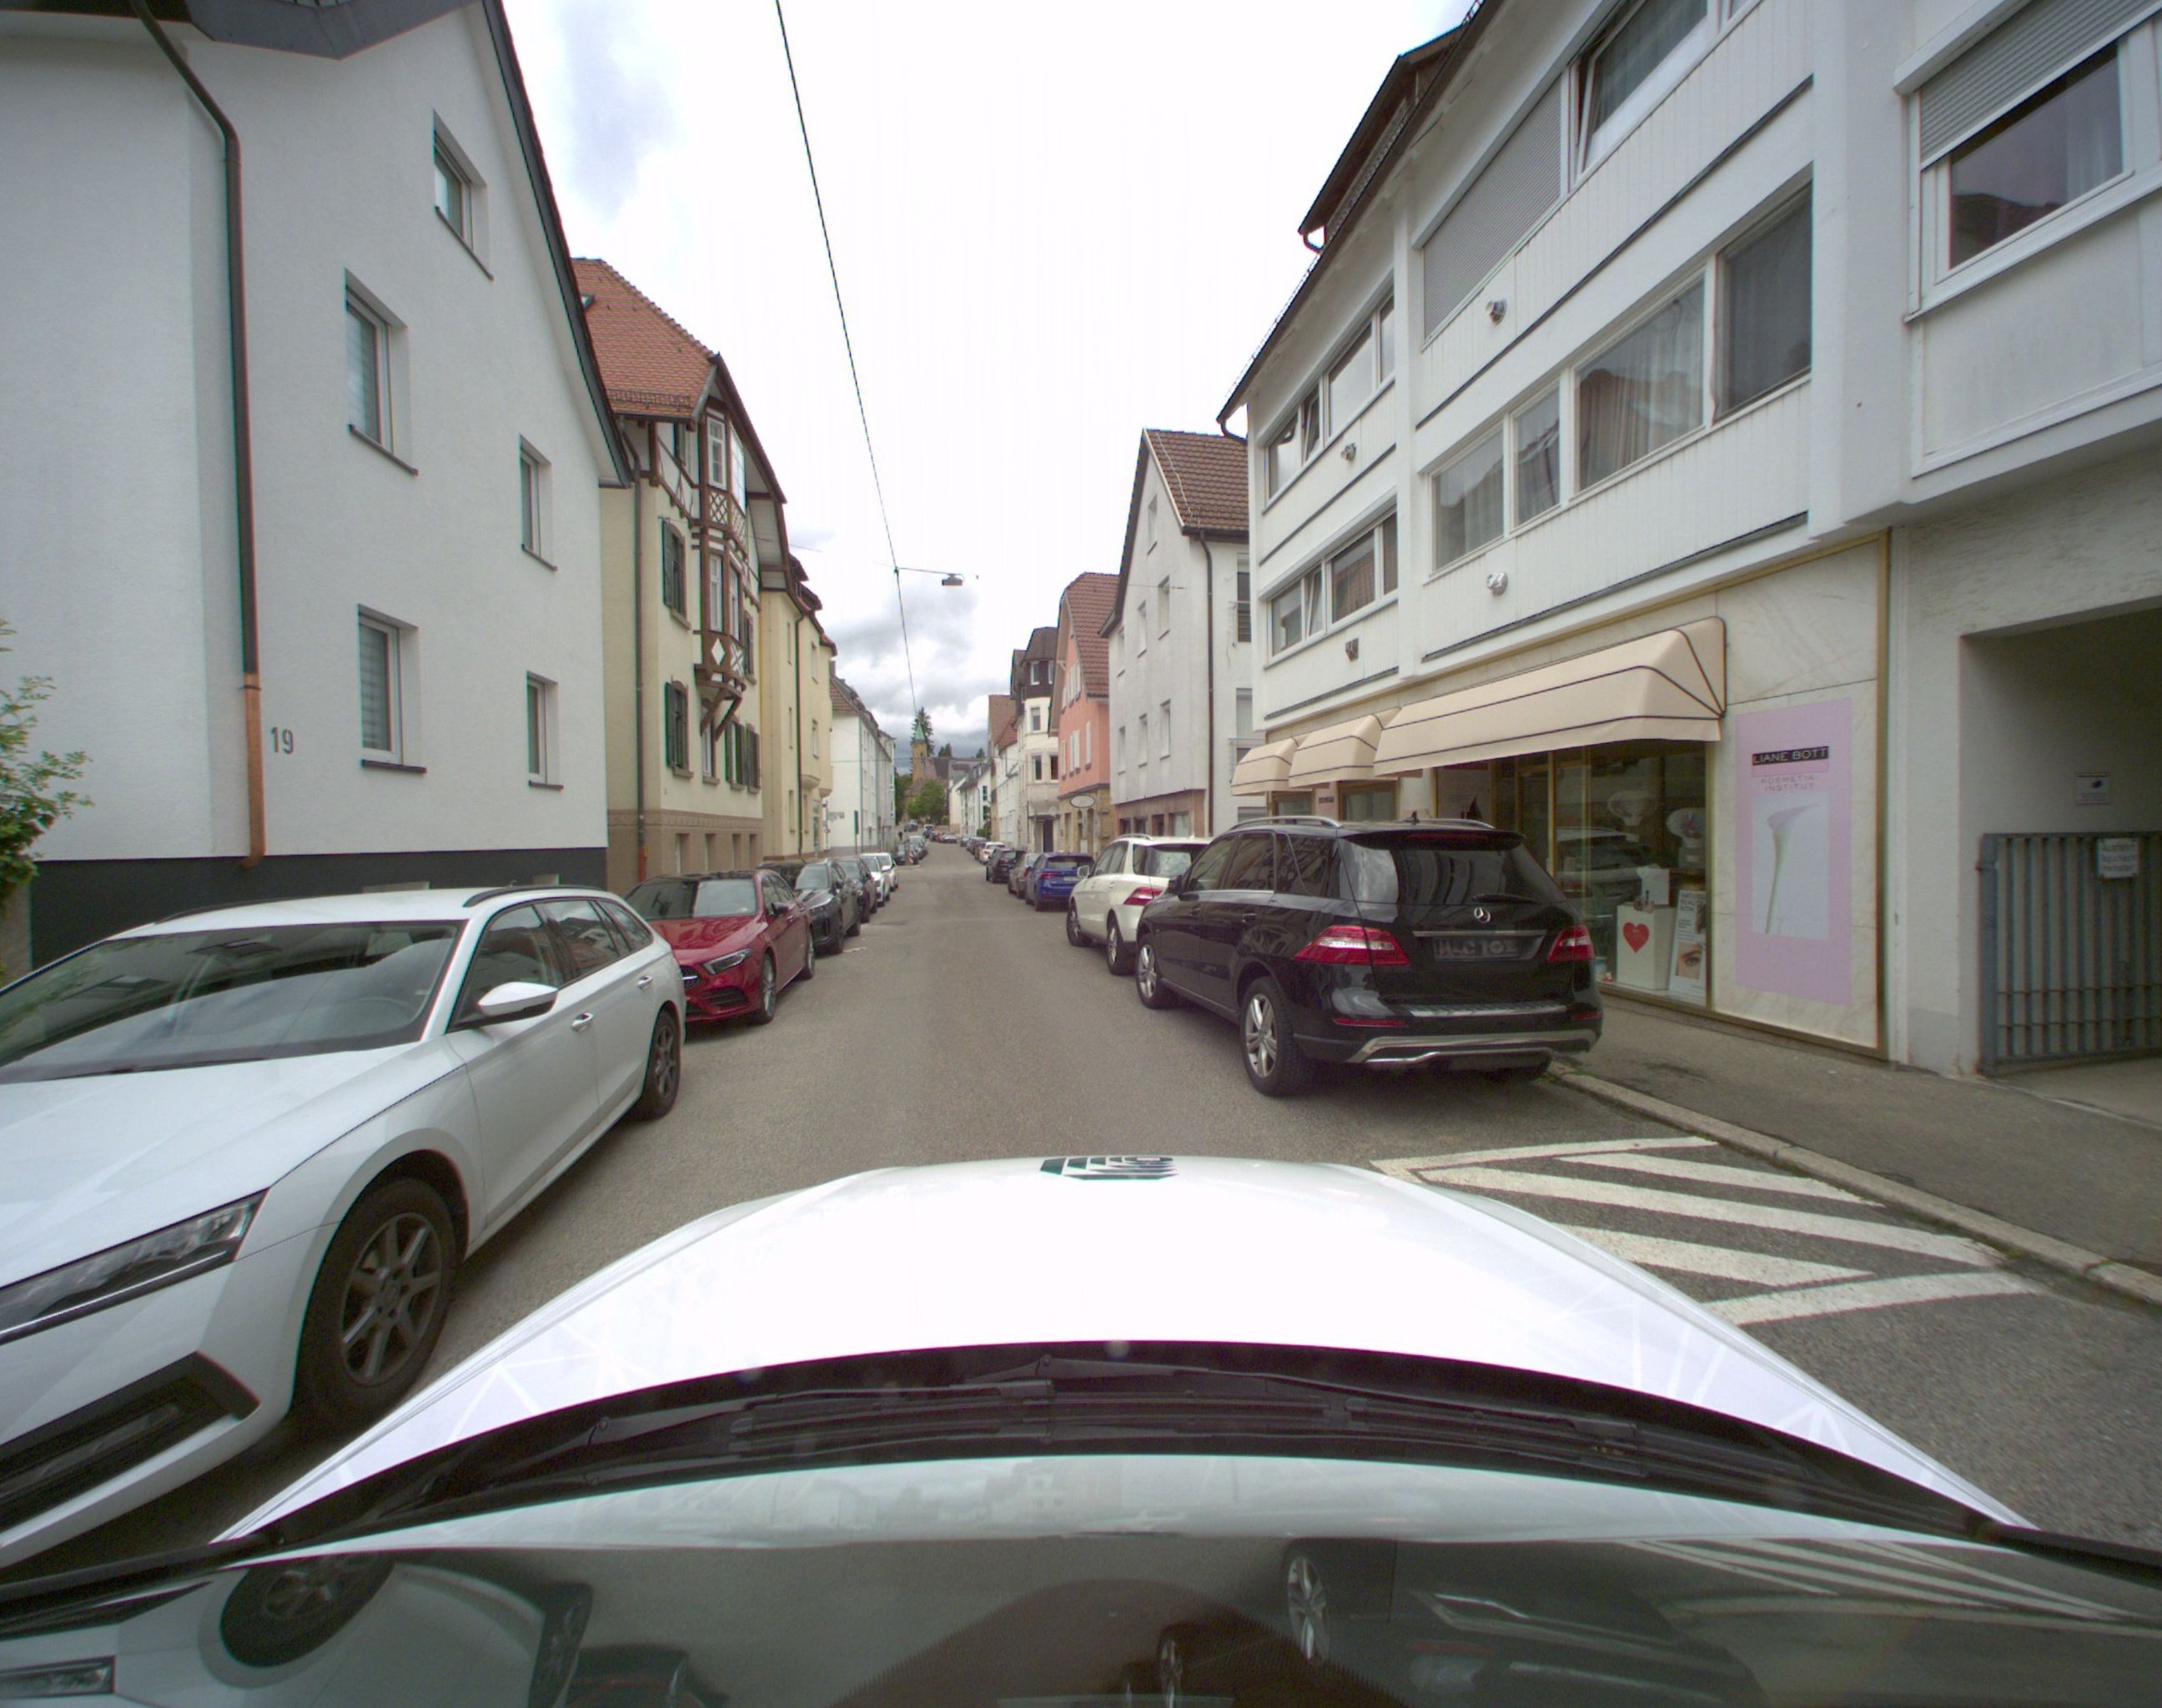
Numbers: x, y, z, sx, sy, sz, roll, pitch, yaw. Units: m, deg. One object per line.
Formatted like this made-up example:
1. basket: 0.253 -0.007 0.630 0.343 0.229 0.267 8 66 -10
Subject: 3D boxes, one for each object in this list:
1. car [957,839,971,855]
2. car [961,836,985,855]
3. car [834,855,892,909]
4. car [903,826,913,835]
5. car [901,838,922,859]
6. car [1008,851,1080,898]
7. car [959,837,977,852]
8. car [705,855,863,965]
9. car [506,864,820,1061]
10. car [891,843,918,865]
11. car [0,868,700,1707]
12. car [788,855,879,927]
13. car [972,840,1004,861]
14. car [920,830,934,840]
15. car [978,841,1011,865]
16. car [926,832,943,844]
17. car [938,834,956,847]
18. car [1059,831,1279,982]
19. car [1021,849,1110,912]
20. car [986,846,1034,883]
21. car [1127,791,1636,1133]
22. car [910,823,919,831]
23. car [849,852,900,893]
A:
1. car: -13.628 -0.776 95.027 1.578 1.759 3.199 0 -1 -10
2. car: -9.517 -0.751 71.659 1.730 1.574 3.817 0 2 -14
3. car: -6.330 0.751 23.858 1.283 1.359 3.791 -2 1 -10
4. car: -36.218 -4.912 170.271 1.750 1.683 3.582 1 1 -15
5. car: -13.570 -0.458 65.146 1.540 1.515 3.366 1 1 -11
6. car: -1.282 0.597 26.385 1.749 1.391 4.016 0 0 -11
7. car: -10.629 -0.915 76.705 1.410 1.305 2.889 0 2 -14
8. car: -4.870 0.811 13.927 1.769 1.495 3.968 -3 1 -10
9. car: -4.018 0.889 8.656 1.769 1.417 4.156 -3 1 -10
10. car: -12.112 -0.028 56.169 1.674 1.464 3.986 1 1 -10
11. car: -3.123 0.868 3.376 1.794 1.461 4.278 -3 1 -12
12. car: -5.701 0.783 19.123 1.607 1.424 3.839 -2 1 -11
13. car: -7.124 -0.282 62.057 1.957 1.574 3.981 0 1 -14
14. car: -26.525 -3.227 139.962 1.895 1.604 3.691 1 1 -19
15. car: -6.050 -0.085 56.918 1.769 1.525 3.884 0 2 -14
16. car: -22.343 -2.422 123.874 1.895 1.645 3.949 1 2 -19
17. car: -18.634 -1.935 113.384 1.765 1.666 3.975 1 1 -19
18. car: 0.995 0.562 11.613 1.934 1.712 4.360 0 1 -11
19. car: -0.506 0.620 21.344 1.774 1.475 3.769 -1 0 -10
20. car: -3.268 0.428 36.941 1.713 1.549 3.788 1 0 -11
21. car: 1.817 0.583 6.573 1.941 1.780 4.353 1 -1 -10
22. car: -38.655 -6.331 189.404 1.825 1.923 3.731 1 2 -16
23. car: -7.878 0.662 31.323 1.586 1.422 3.389 -2 0 -10
